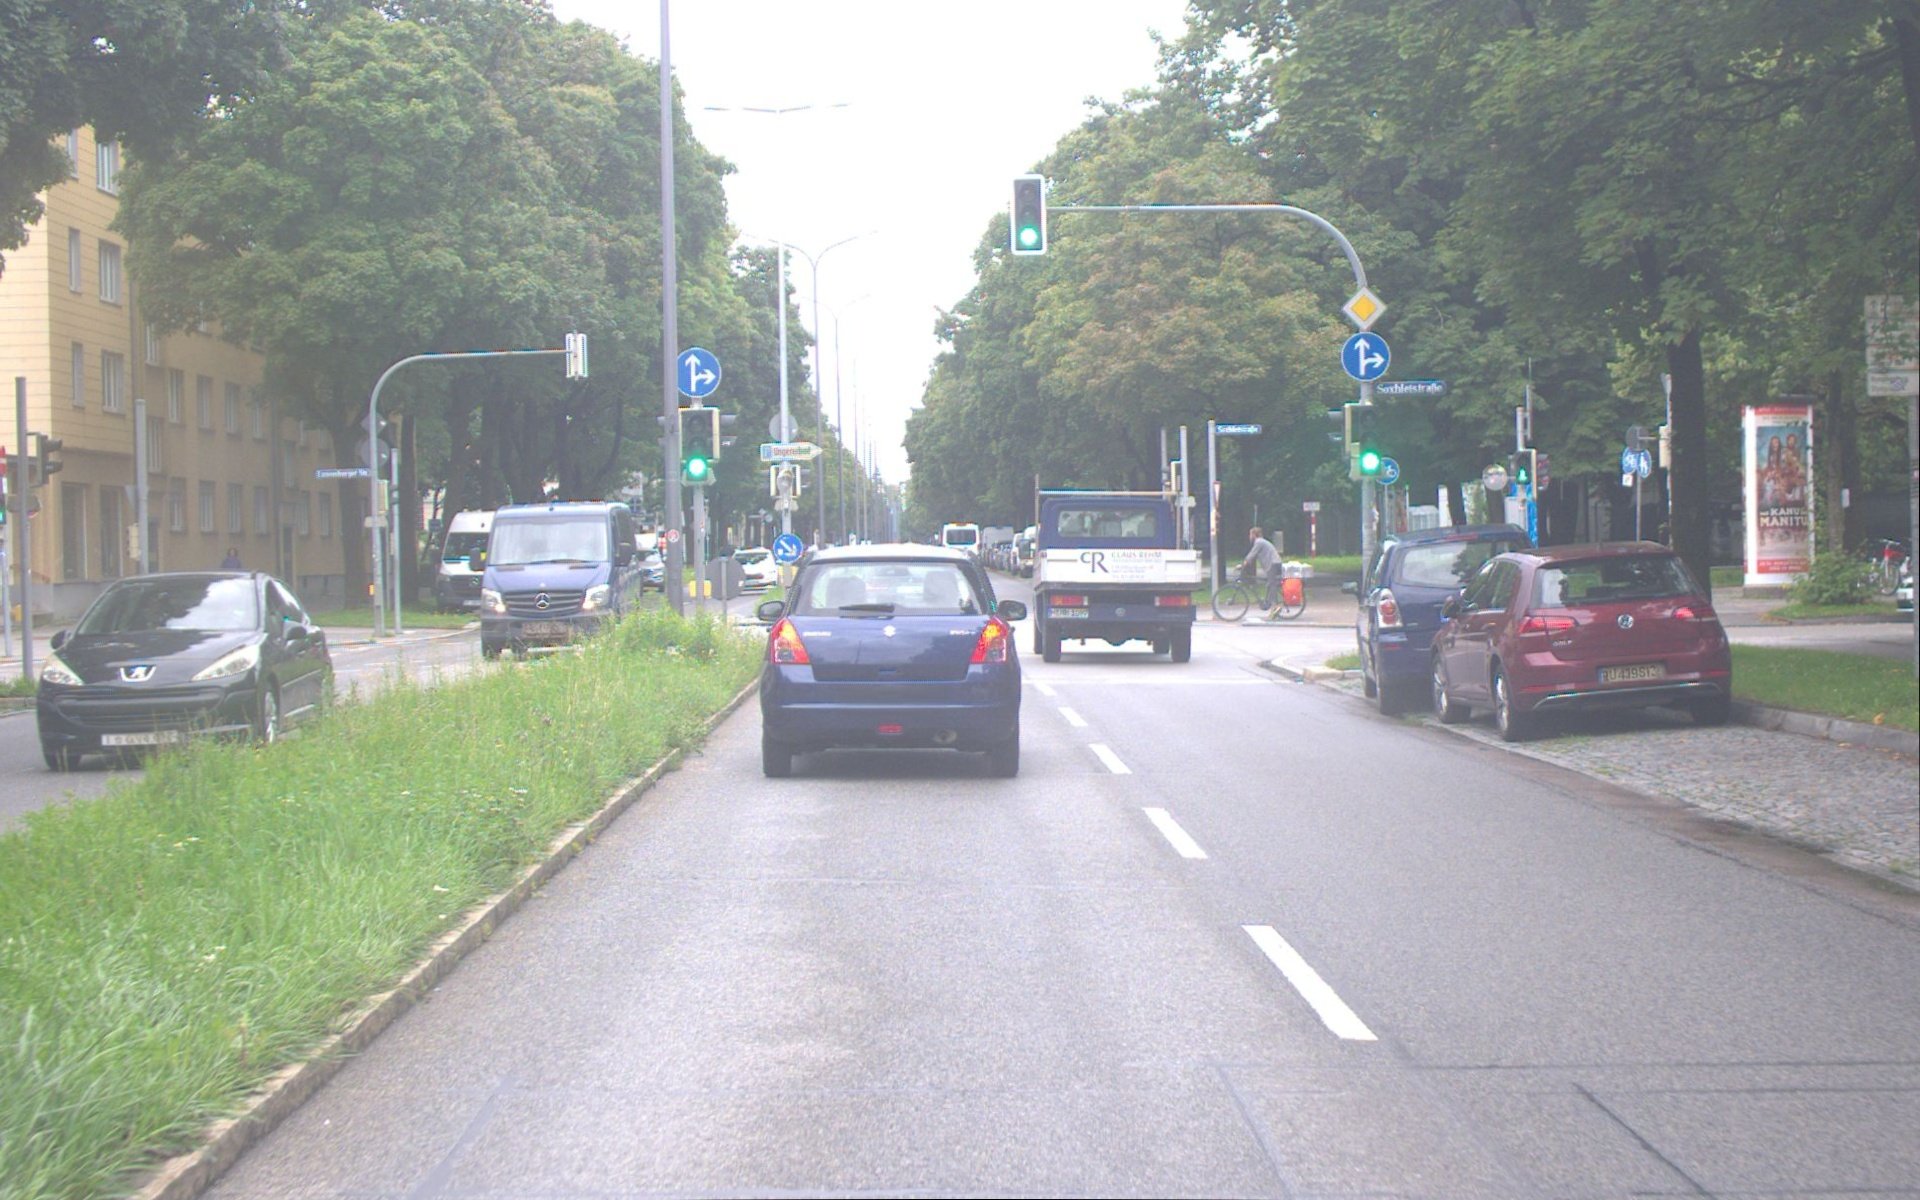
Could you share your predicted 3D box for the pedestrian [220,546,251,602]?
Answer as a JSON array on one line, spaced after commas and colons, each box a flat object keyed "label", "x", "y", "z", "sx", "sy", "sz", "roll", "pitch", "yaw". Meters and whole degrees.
[{"label": "pedestrian", "x": -18.596, "y": -0.674, "z": 88.229, "sx": 0.629, "sy": 1.435, "sz": 0.806, "roll": 1, "pitch": 0, "yaw": -1}]

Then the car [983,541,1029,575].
[{"label": "car", "x": 2.088, "y": -1.917, "z": 155.771, "sx": 1.786, "sy": 1.494, "sz": 3.661, "roll": 0, "pitch": 1, "yaw": -4}]

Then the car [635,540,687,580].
[{"label": "car", "x": -11.421, "y": -1.555, "z": 131.454, "sx": 1.636, "sy": 1.437, "sz": 3.735, "roll": -2, "pitch": 1, "yaw": 0}]

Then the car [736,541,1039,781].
[{"label": "car", "x": -0.570, "y": 0.351, "z": 23.350, "sx": 1.896, "sy": 1.494, "sz": 3.661, "roll": 0, "pitch": 1, "yaw": -4}]

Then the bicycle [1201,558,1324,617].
[{"label": "bicycle", "x": 5.799, "y": -0.242, "z": 66.014, "sx": 2.297, "sy": 1.110, "sz": 0.996, "roll": 0, "pitch": 1, "yaw": 1}]

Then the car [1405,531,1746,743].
[{"label": "car", "x": 4.844, "y": 0.231, "z": 27.624, "sx": 1.712, "sy": 1.419, "sz": 4.284, "roll": -5, "pitch": 1, "yaw": -2}]

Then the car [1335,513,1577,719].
[{"label": "car", "x": 4.601, "y": 0.085, "z": 32.396, "sx": 1.763, "sy": 1.652, "sz": 4.283, "roll": -5, "pitch": 1, "yaw": 3}]

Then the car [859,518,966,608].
[{"label": "car", "x": -0.816, "y": -0.647, "z": 59.859, "sx": 1.799, "sy": 1.494, "sz": 3.660, "roll": 1, "pitch": 1, "yaw": -1}]

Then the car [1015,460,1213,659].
[{"label": "car", "x": 1.928, "y": -0.548, "z": 44.792, "sx": 2.419, "sy": 2.436, "sz": 5.087, "roll": 0, "pitch": 1, "yaw": 1}]

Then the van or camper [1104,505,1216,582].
[{"label": "van or camper", "x": 4.761, "y": -1.355, "z": 82.310, "sx": 2.125, "sy": 1.787, "sz": 4.508, "roll": 0, "pitch": 1, "yaw": -4}]

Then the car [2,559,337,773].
[{"label": "car", "x": -5.986, "y": 0.441, "z": 26.480, "sx": 1.737, "sy": 1.437, "sz": 4.103, "roll": -2, "pitch": 1, "yaw": -2}]

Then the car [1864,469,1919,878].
[{"label": "car", "x": 5.148, "y": 0.316, "z": 13.679, "sx": 1.760, "sy": 1.824, "sz": 4.529, "roll": -3, "pitch": 1, "yaw": -1}]

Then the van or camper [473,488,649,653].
[{"label": "van or camper", "x": -5.873, "y": -0.469, "z": 51.327, "sx": 2.023, "sy": 2.253, "sz": 6.022, "roll": -2, "pitch": 1, "yaw": -2}]

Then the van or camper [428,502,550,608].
[{"label": "van or camper", "x": -11.671, "y": -1.141, "z": 85.567, "sx": 2.140, "sy": 2.467, "sz": 6.259, "roll": -2, "pitch": 1, "yaw": 0}]

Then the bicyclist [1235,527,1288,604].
[{"label": "bicyclist", "x": 5.786, "y": -0.663, "z": 66.007, "sx": 0.930, "sy": 1.474, "sz": 0.990, "roll": 0, "pitch": 1, "yaw": 1}]
